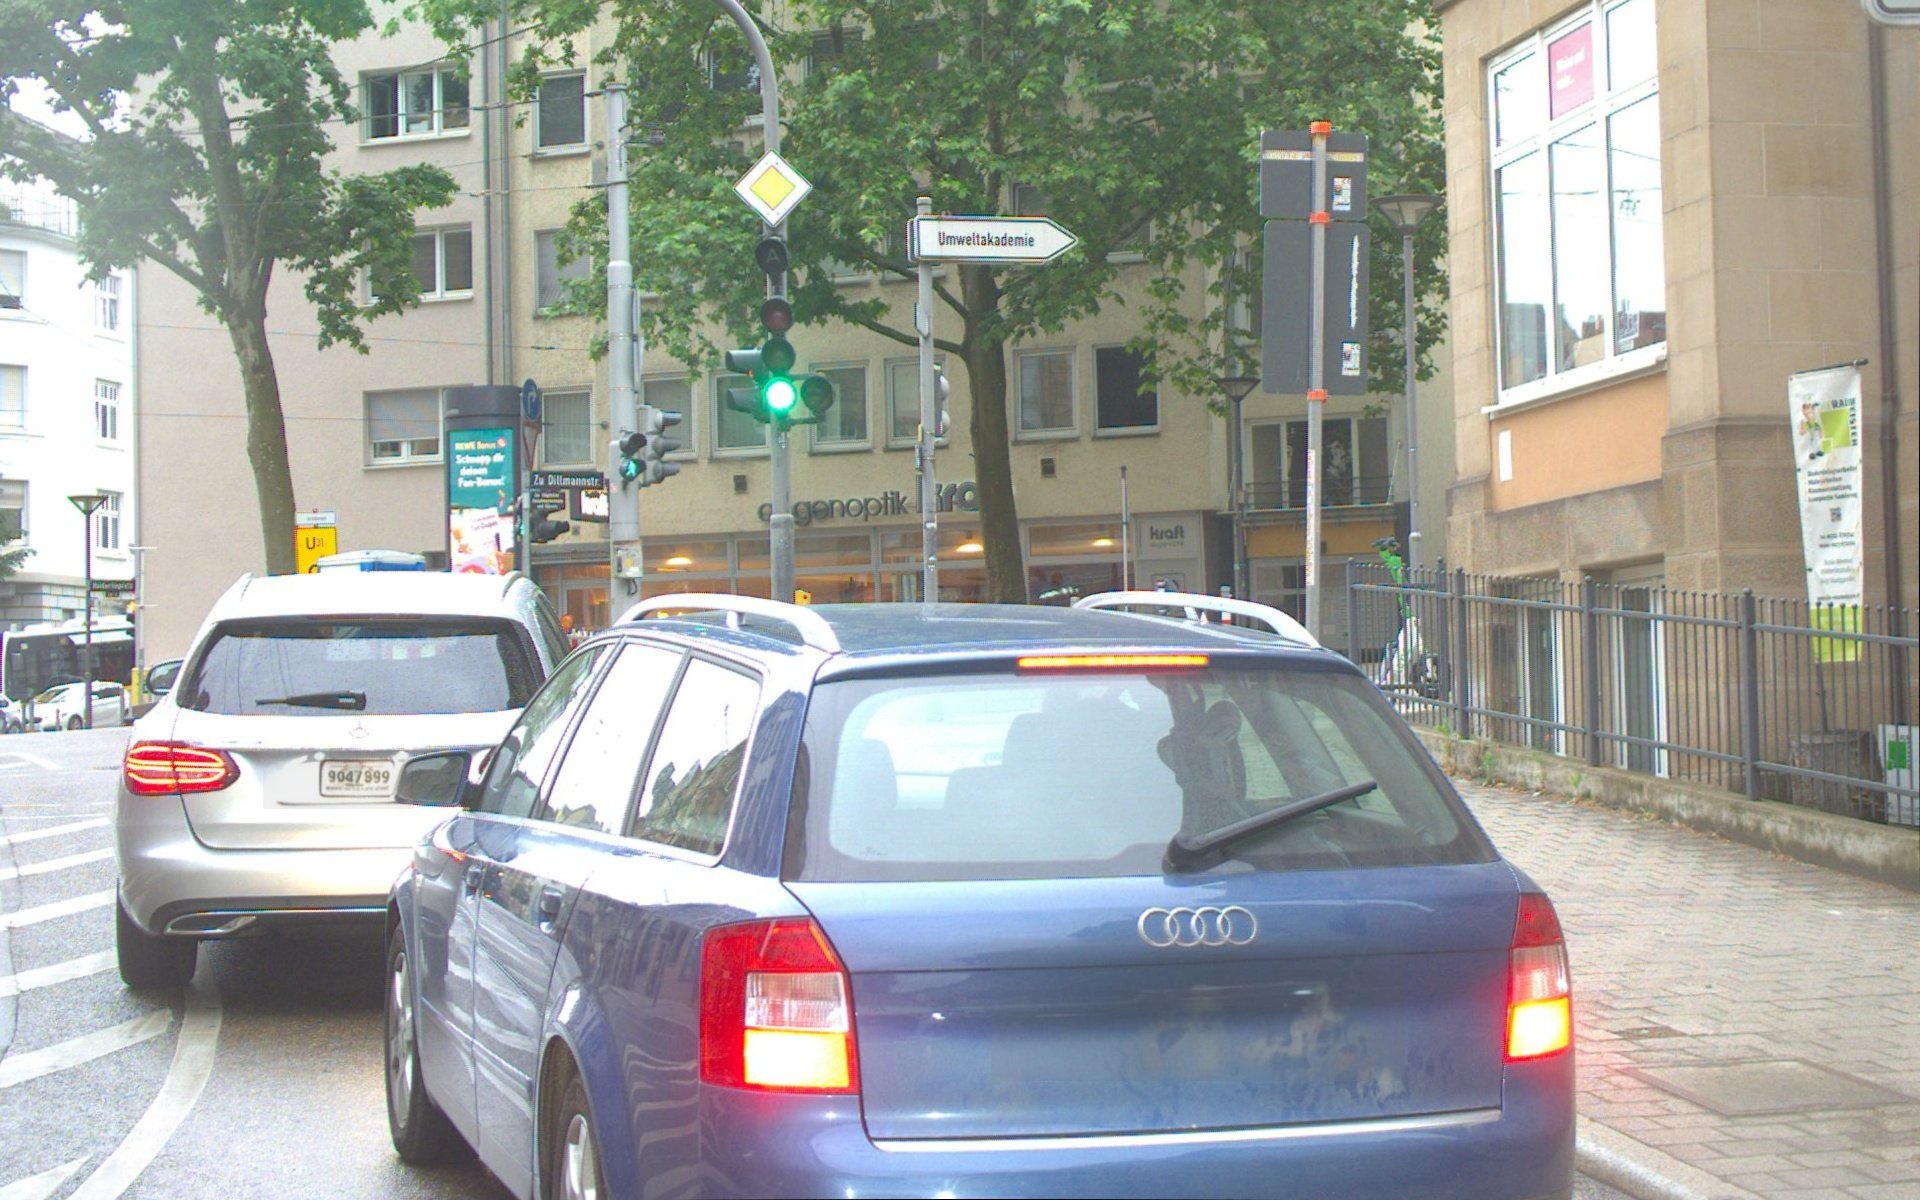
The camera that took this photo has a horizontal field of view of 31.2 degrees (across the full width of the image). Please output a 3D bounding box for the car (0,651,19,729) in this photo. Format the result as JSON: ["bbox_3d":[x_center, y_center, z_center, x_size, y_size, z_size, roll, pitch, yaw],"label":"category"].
[{"bbox_3d":[-19.992,1.866,67.737,1.794,1.505,4.000,-4,1,-1],"label":"car"}]

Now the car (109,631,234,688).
[{"bbox_3d":[-23.336,1.744,101.879,1.796,1.505,3.997,-1,1,17],"label":"car"}]

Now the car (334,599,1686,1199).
[{"bbox_3d":[-0.228,0.742,7.235,1.710,1.410,4.037,0,1,-17],"label":"car"}]

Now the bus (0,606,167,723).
[{"bbox_3d":[-25.147,1.726,94.397,2.856,2.851,8.728,-1,1,14],"label":"bus"}]

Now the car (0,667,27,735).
[{"bbox_3d":[-24.526,2.537,83.313,1.796,1.609,3.997,-1,1,17],"label":"car"}]

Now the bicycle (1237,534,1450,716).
[{"bbox_3d":[2.638,0.164,23.689,1.300,1.169,0.526,-3,1,-12],"label":"bicycle"}]

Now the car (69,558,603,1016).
[{"bbox_3d":[-2.256,0.580,12.936,1.710,1.451,3.554,0,1,-8],"label":"car"}]

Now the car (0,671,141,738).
[{"bbox_3d":[-22.904,2.666,88.344,1.796,1.505,3.997,-1,1,17],"label":"car"}]
